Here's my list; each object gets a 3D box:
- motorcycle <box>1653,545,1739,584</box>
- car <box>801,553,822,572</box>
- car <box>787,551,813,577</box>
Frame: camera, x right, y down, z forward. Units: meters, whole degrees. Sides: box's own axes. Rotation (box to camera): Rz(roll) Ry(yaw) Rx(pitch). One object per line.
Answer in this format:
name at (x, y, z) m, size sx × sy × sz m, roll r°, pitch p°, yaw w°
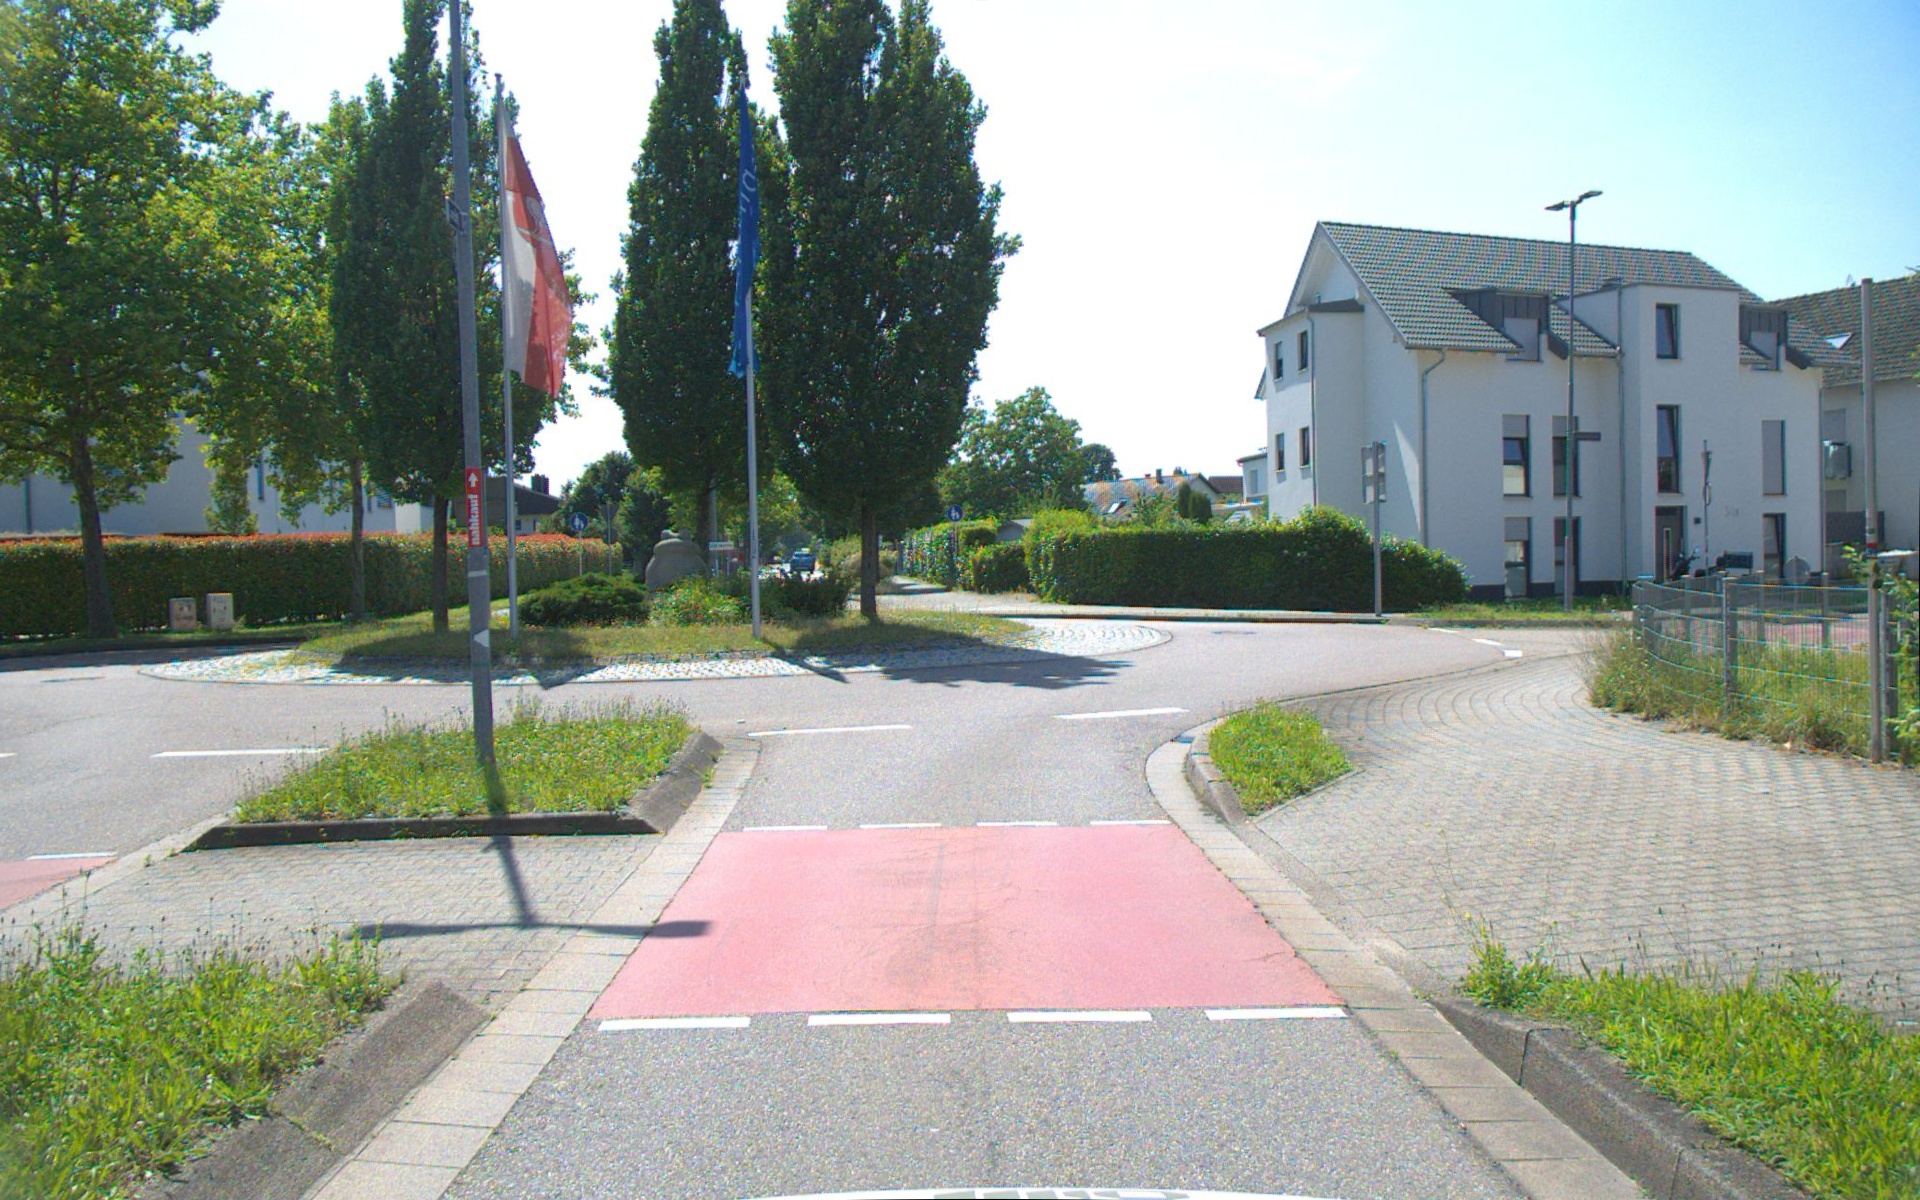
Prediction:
motorcycle at (20.159, -0.978, 45.356) m, size 0.660 × 1.031 × 2.353 m, roll 0°, pitch 1°, yaw -22°
car at (-14.323, -3.641, 159.671) m, size 1.954 × 1.800 × 3.997 m, roll 0°, pitch 1°, yaw -5°
car at (-12.003, -2.717, 124.305) m, size 1.886 × 1.919 × 3.996 m, roll 0°, pitch 1°, yaw -6°
